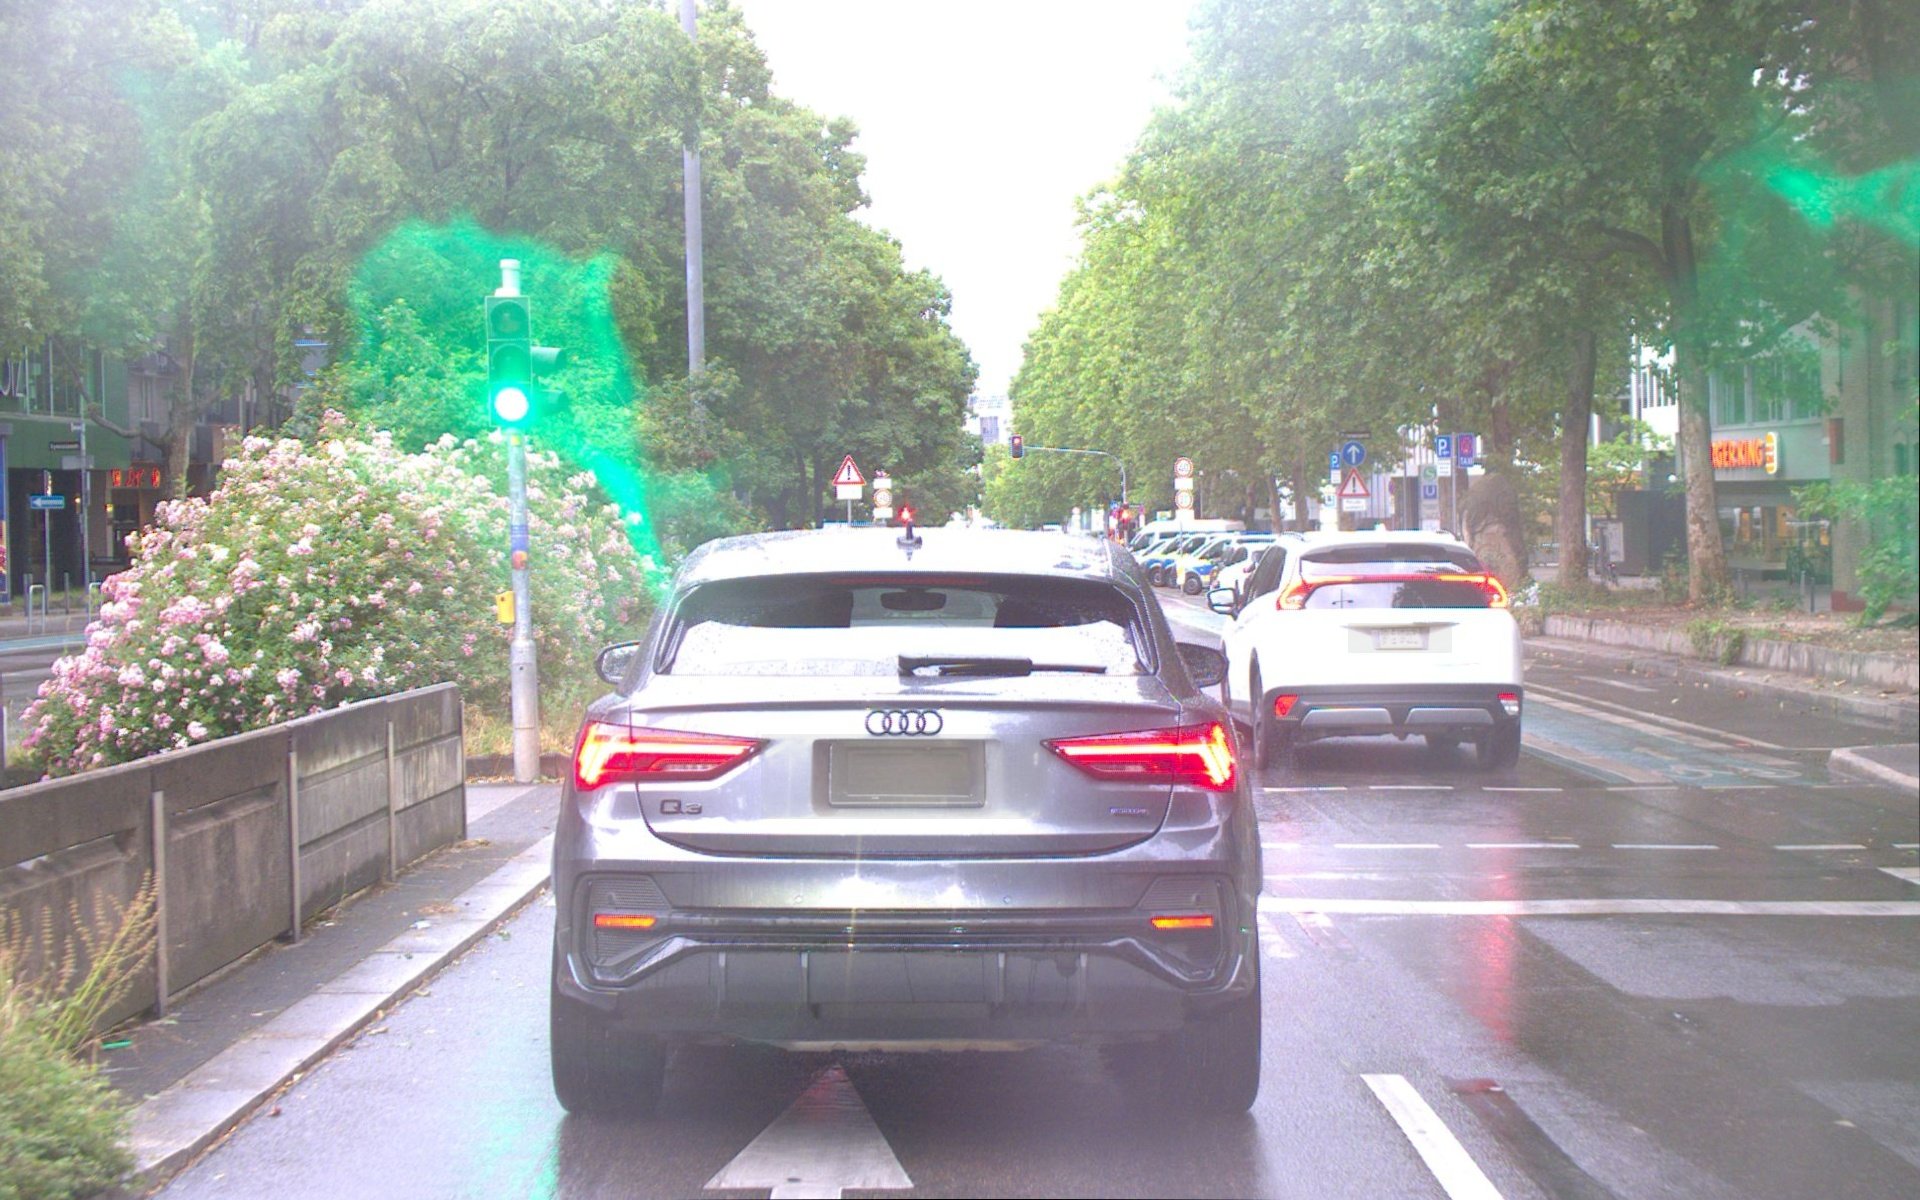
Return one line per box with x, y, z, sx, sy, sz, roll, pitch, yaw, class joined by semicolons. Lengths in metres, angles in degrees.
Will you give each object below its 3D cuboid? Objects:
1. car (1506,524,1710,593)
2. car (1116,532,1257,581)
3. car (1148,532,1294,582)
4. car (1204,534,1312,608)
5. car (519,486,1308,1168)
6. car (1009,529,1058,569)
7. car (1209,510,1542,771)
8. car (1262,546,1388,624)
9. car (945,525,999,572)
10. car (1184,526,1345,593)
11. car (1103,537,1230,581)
10.456;-0.673;55.494;2.889;1.071;1.453;1;0;31;car
8.155;-1.561;124.077;4.645;1.700;1.997;1;0;28;car
9.137;-1.508;120.442;4.645;1.700;1.997;1;0;28;car
6.596;-0.645;76.475;1.727;1.566;4.074;1;0;-4;car
-0.144;0.526;10.062;1.849;1.596;4.000;0;0;-1;car
3.147;-2.201;148.136;1.993;1.645;4.000;1;0;0;car
2.883;0.257;24.667;1.878;1.691;4.000;1;0;0;car
6.916;-0.302;65.514;1.873;1.416;4.611;1;1;0;car
0.452;-1.960;132.113;1.993;1.721;4.000;1;0;-1;car
9.390;-1.244;106.114;4.602;2.007;1.964;1;0;38;car
8.248;-1.645;137.597;4.645;1.700;1.997;1;0;28;car
